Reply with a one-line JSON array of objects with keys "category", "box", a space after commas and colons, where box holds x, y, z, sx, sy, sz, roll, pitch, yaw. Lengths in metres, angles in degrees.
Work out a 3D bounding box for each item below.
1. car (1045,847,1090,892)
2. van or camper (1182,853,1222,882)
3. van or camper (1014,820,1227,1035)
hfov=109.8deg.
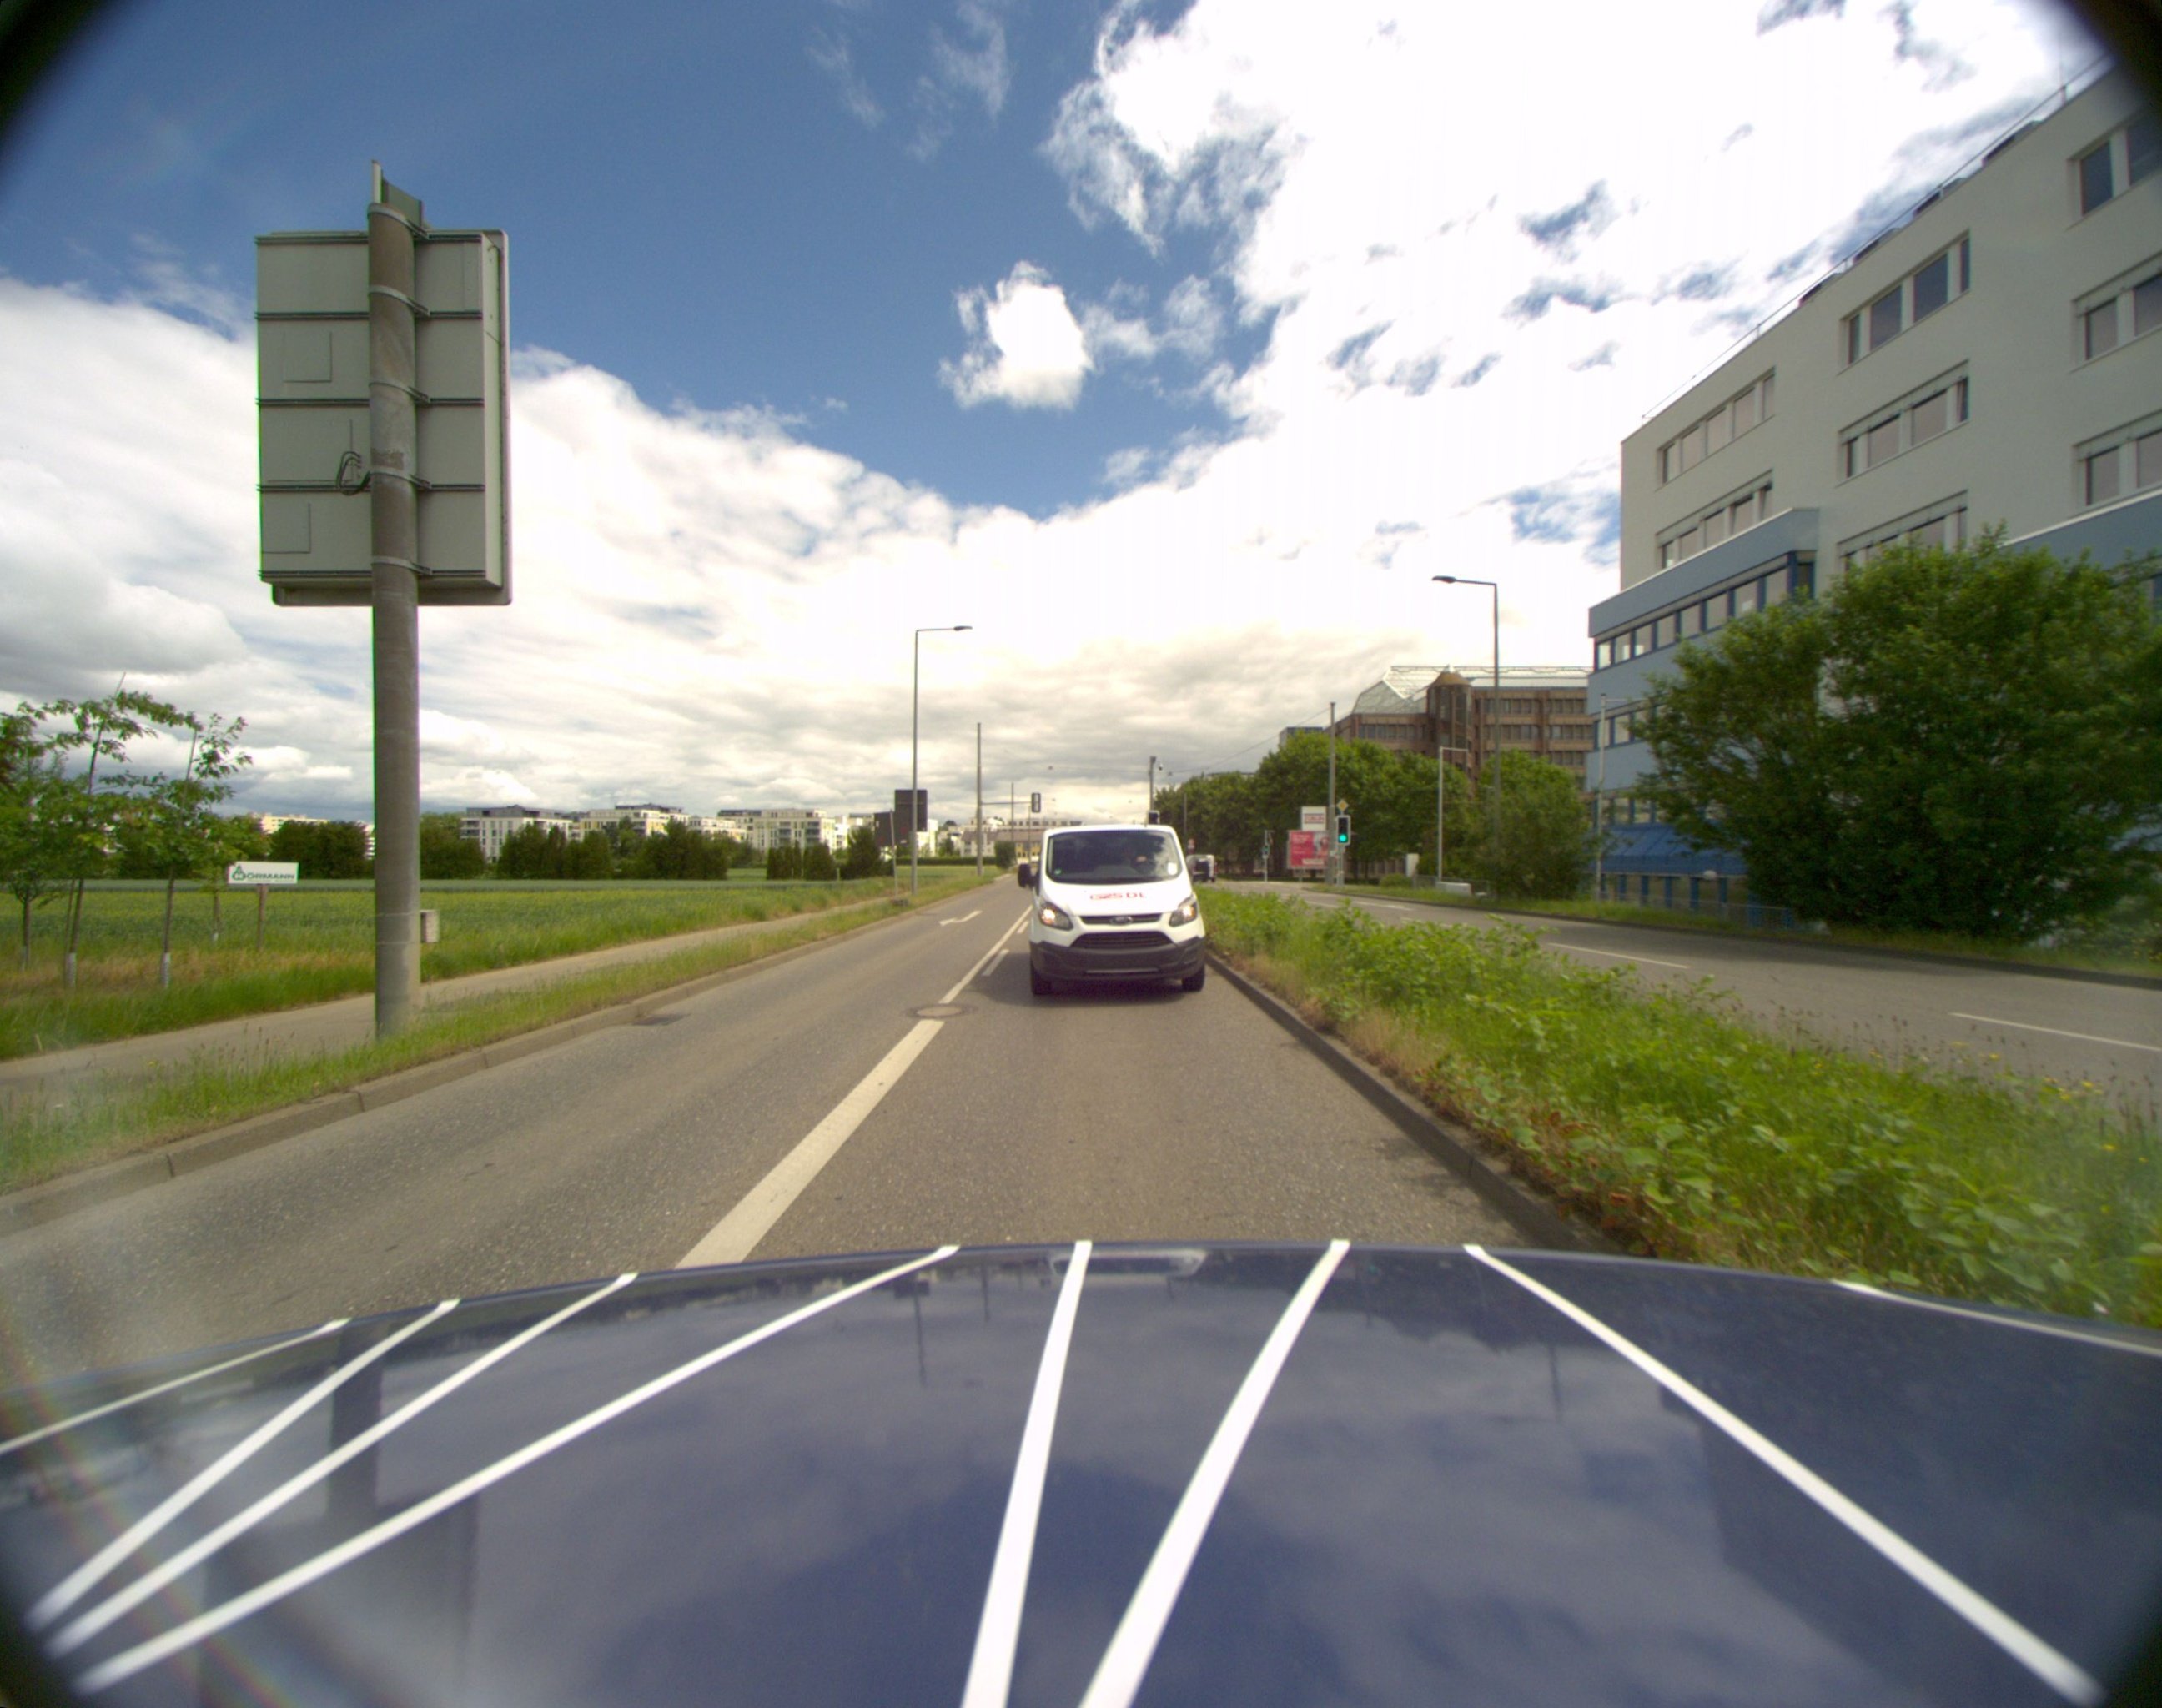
[{"category": "car", "box": [-0.609, 0.706, 36.781, 1.998, 2.002, 4.000, 0, 0, 1]}, {"category": "van or camper", "box": [8.764, 0.922, 55.333, 1.999, 2.002, 4.814, 0, 0, -2]}, {"category": "van or camper", "box": [0.273, 0.697, 10.006, 1.999, 2.002, 5.798, 0, 0, -2]}]
